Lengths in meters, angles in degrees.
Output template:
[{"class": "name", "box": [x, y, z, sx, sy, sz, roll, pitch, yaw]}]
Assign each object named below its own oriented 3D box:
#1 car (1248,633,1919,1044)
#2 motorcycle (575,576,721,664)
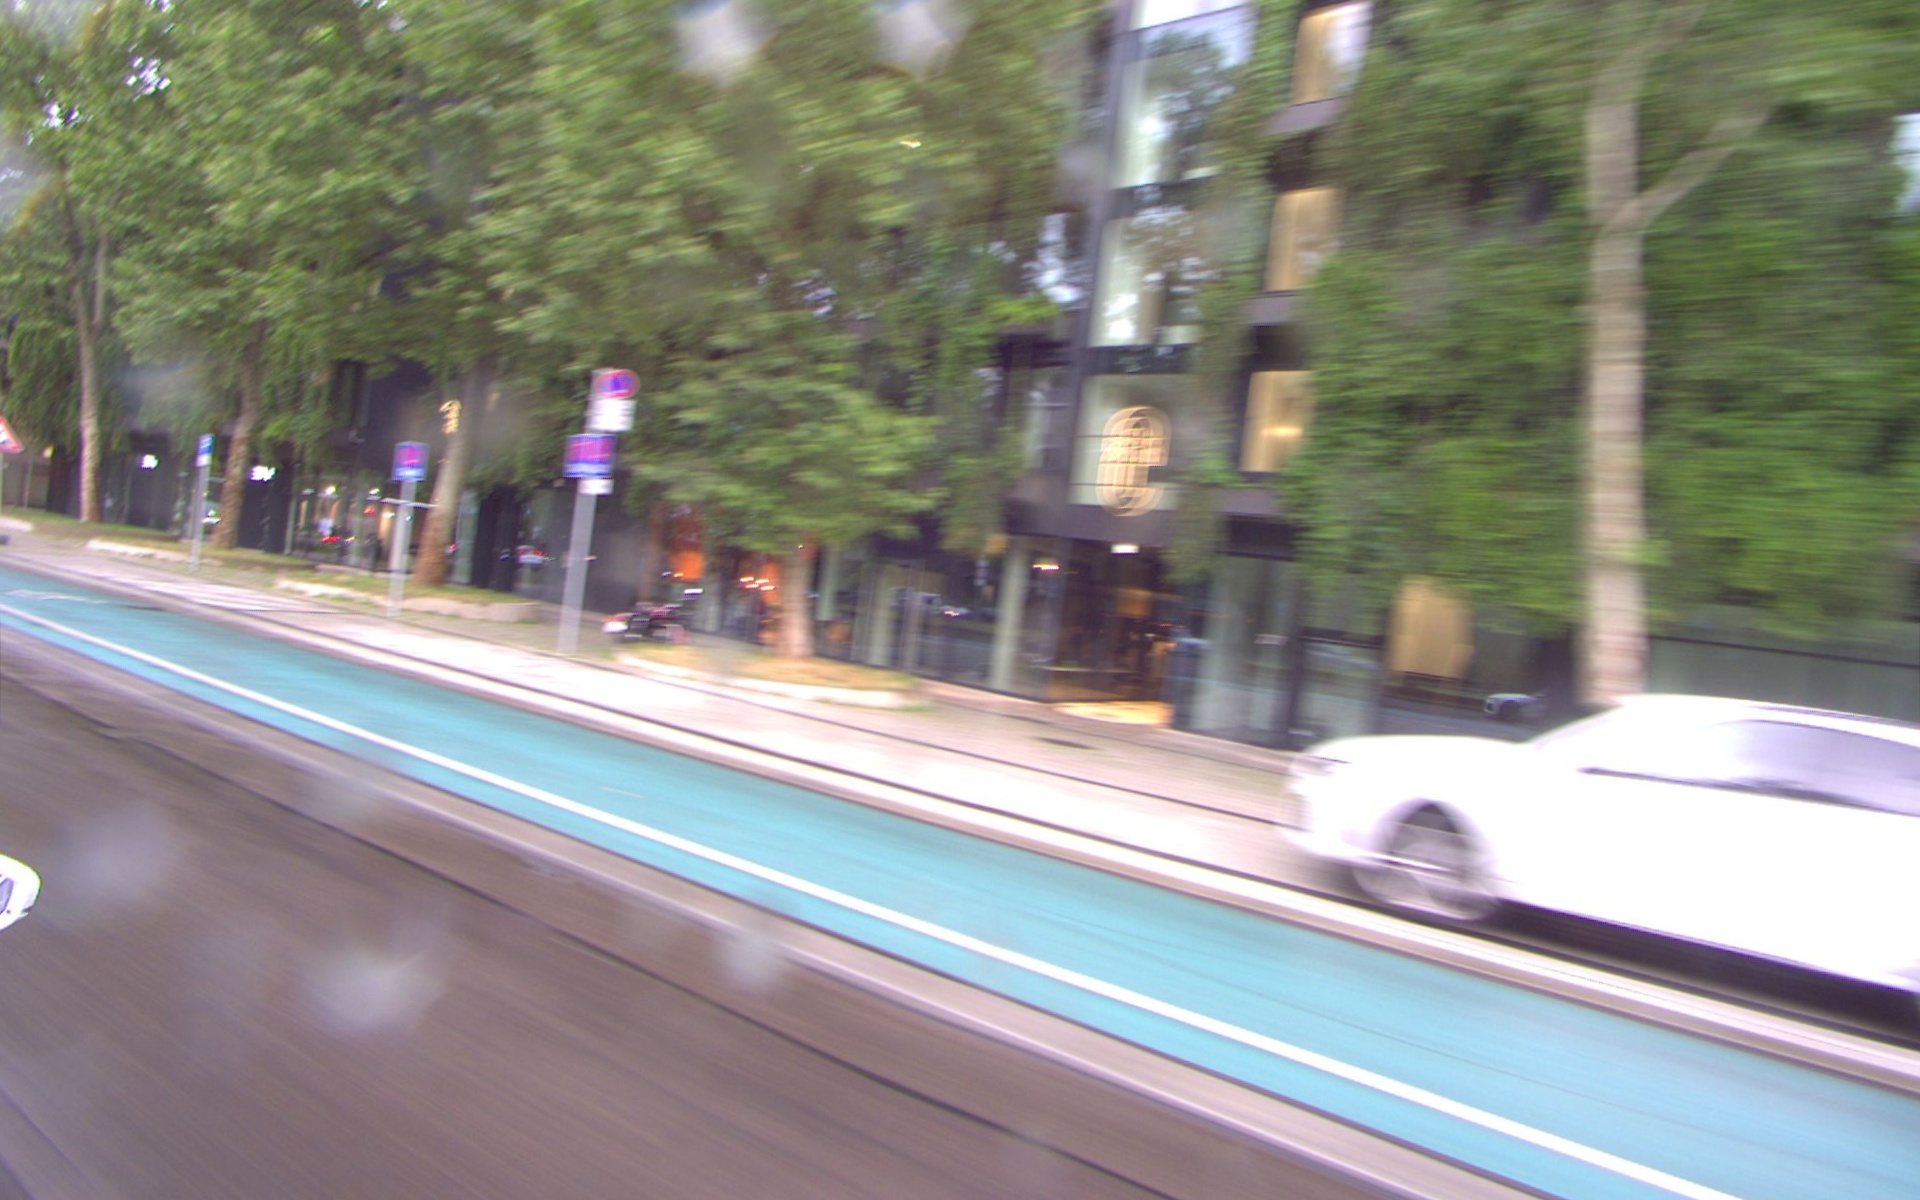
[{"class": "car", "box": [4.530, 1.386, 6.424, 4.706, 1.652, 1.846, 8, 0, 32]}, {"class": "motorcycle", "box": [-5.655, 0.399, 18.387, 1.035, 1.284, 2.313, 8, -2, 31]}]
